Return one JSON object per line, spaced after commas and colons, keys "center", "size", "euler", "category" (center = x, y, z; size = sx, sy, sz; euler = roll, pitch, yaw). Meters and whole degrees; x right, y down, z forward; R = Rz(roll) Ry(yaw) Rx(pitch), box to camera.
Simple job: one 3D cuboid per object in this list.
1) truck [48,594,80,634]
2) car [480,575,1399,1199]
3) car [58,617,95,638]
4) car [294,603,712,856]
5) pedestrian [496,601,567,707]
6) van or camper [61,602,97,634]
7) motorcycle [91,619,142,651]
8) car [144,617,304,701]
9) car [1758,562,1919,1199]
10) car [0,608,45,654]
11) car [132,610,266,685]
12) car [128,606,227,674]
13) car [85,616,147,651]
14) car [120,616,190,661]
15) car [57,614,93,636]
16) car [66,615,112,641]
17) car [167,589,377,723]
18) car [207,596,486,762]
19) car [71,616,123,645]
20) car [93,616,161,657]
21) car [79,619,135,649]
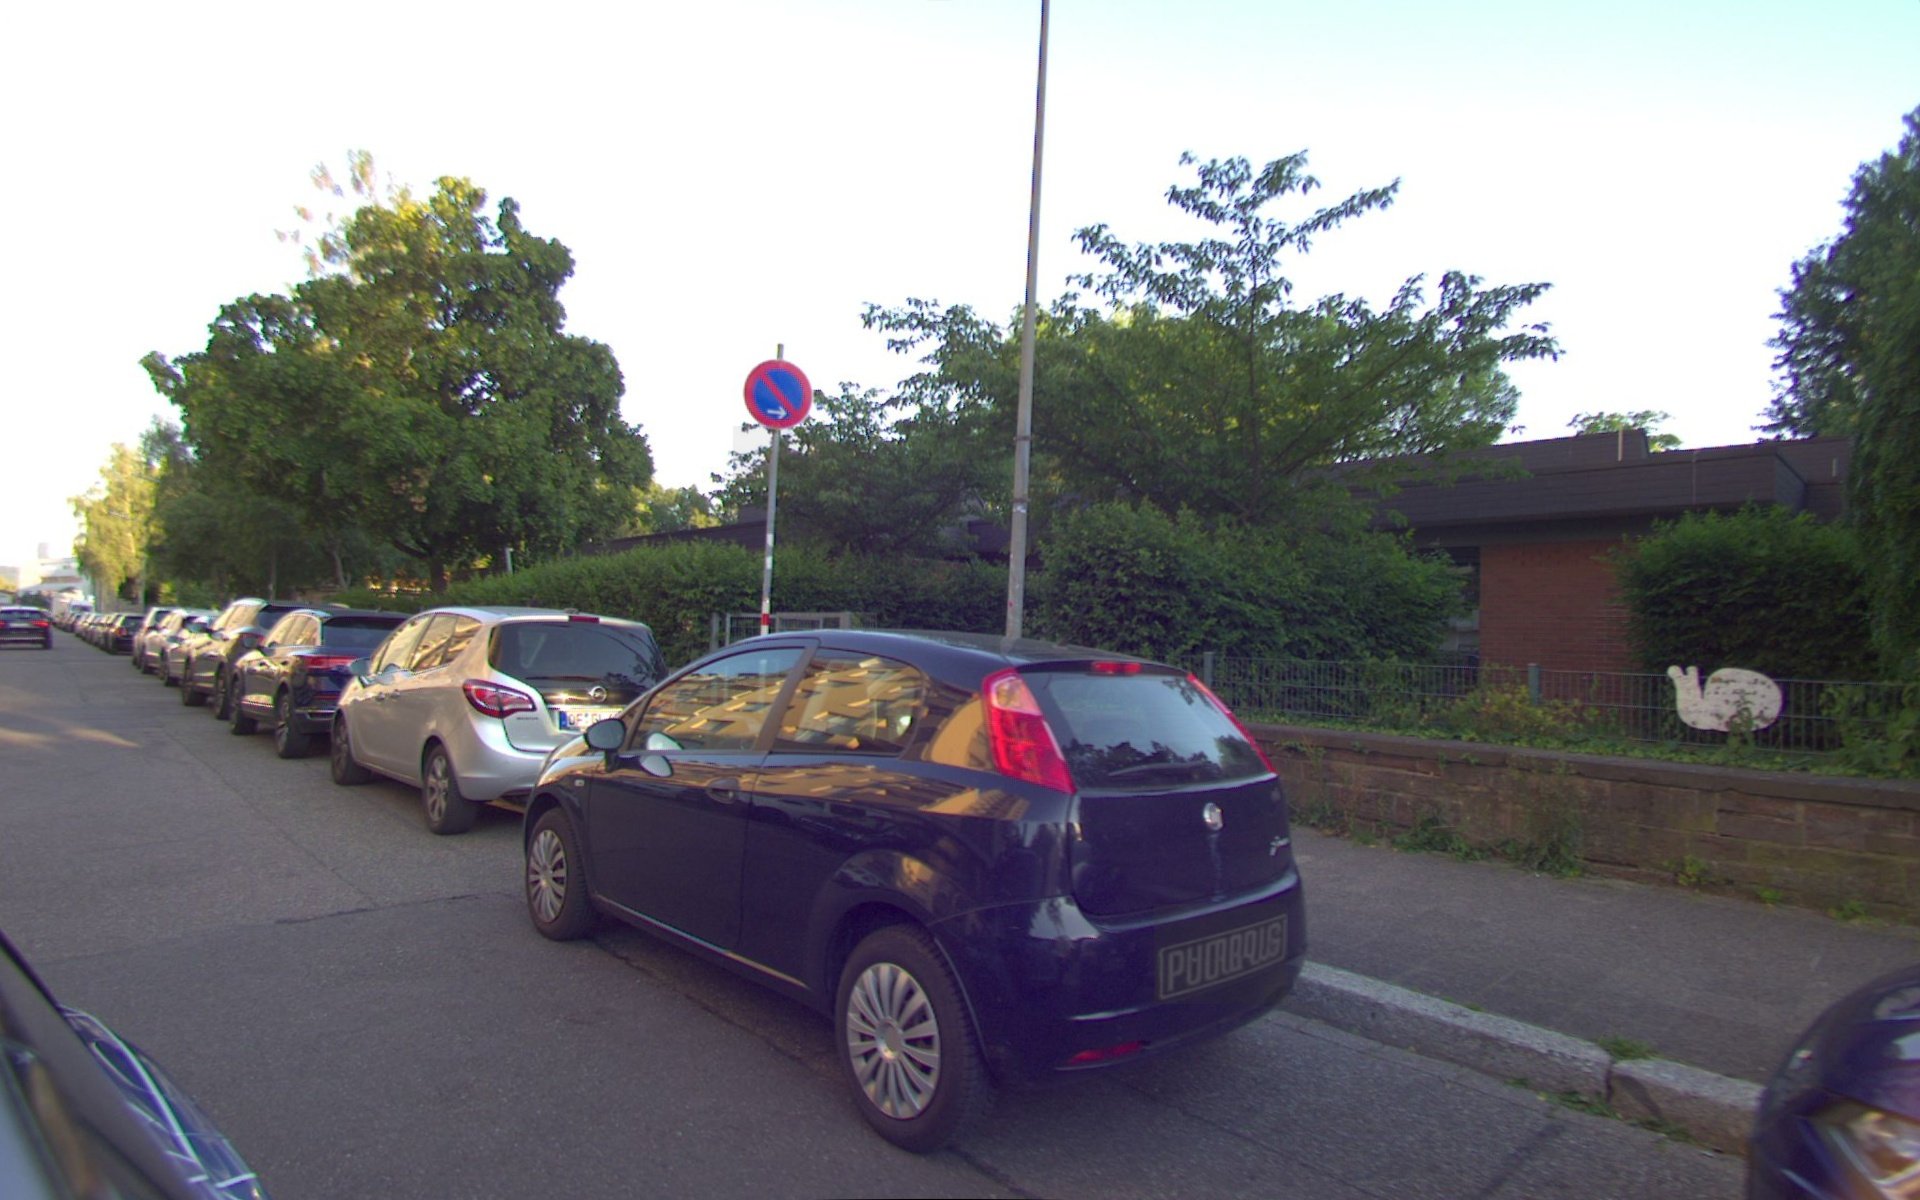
{"center": [-88.473, 1.387, 99.931], "size": [2.151, 3.912, 4.932], "euler": [2, -2, -43], "category": "truck"}
{"center": [-0.374, 0.802, 4.238], "size": [3.698, 1.579, 1.714], "euler": [-1, -4, 44], "category": "car"}
{"center": [-62.428, 1.943, 71.470], "size": [1.713, 1.377, 4.295], "euler": [5, -4, -44], "category": "car"}
{"center": [-3.963, 0.881, 8.412], "size": [4.131, 1.579, 1.714], "euler": [-1, -4, 44], "category": "car"}
{"center": [-7.320, 0.900, 17.305], "size": [0.888, 1.745, 0.751], "euler": [-1, 0, -44], "category": "pedestrian"}
{"center": [-69.797, 1.454, 80.188], "size": [1.799, 2.433, 4.295], "euler": [5, -4, -44], "category": "van or camper"}
{"center": [-34.836, 1.448, 41.812], "size": [1.572, 1.268, 0.786], "euler": [2, -2, -40], "category": "motorcycle"}
{"center": [-14.235, 1.092, 19.481], "size": [4.288, 1.438, 1.714], "euler": [-1, -4, 44], "category": "car"}
{"center": [3.087, 0.775, 0.739], "size": [3.792, 1.579, 1.714], "euler": [-1, -4, 44], "category": "car"}
{"center": [-35.805, 1.147, 38.193], "size": [1.713, 1.644, 4.129], "euler": [5, -4, -43], "category": "car"}
{"center": [-17.493, 1.069, 23.187], "size": [4.282, 1.554, 1.739], "euler": [-1, -4, 44], "category": "car"}
{"center": [-21.070, 1.061, 27.195], "size": [1.712, 1.644, 3.985], "euler": [5, -4, -42], "category": "car"}
{"center": [-36.717, 1.447, 44.013], "size": [1.713, 1.436, 3.808], "euler": [5, -4, -44], "category": "car"}
{"center": [-28.352, 1.342, 35.597], "size": [1.600, 1.436, 3.419], "euler": [5, -4, -43], "category": "car"}
{"center": [-66.220, 1.871, 75.712], "size": [1.713, 1.522, 4.295], "euler": [5, -4, -44], "category": "car"}
{"center": [-50.018, 1.621, 58.089], "size": [1.713, 1.377, 4.295], "euler": [5, -4, -44], "category": "car"}
{"center": [-10.475, 0.799, 15.277], "size": [4.324, 1.743, 1.714], "euler": [-1, -4, 44], "category": "car"}
{"center": [-7.252, 0.830, 11.779], "size": [4.169, 1.579, 1.714], "euler": [-1, -4, 44], "category": "car"}
{"center": [-44.264, 1.570, 51.894], "size": [1.713, 1.377, 3.808], "euler": [5, -4, -44], "category": "car"}
{"center": [-32.324, 1.389, 39.239], "size": [1.713, 1.457, 3.809], "euler": [5, -4, -43], "category": "car"}
{"center": [-40.616, 1.607, 48.174], "size": [1.713, 1.297, 3.808], "euler": [5, -4, -44], "category": "car"}
